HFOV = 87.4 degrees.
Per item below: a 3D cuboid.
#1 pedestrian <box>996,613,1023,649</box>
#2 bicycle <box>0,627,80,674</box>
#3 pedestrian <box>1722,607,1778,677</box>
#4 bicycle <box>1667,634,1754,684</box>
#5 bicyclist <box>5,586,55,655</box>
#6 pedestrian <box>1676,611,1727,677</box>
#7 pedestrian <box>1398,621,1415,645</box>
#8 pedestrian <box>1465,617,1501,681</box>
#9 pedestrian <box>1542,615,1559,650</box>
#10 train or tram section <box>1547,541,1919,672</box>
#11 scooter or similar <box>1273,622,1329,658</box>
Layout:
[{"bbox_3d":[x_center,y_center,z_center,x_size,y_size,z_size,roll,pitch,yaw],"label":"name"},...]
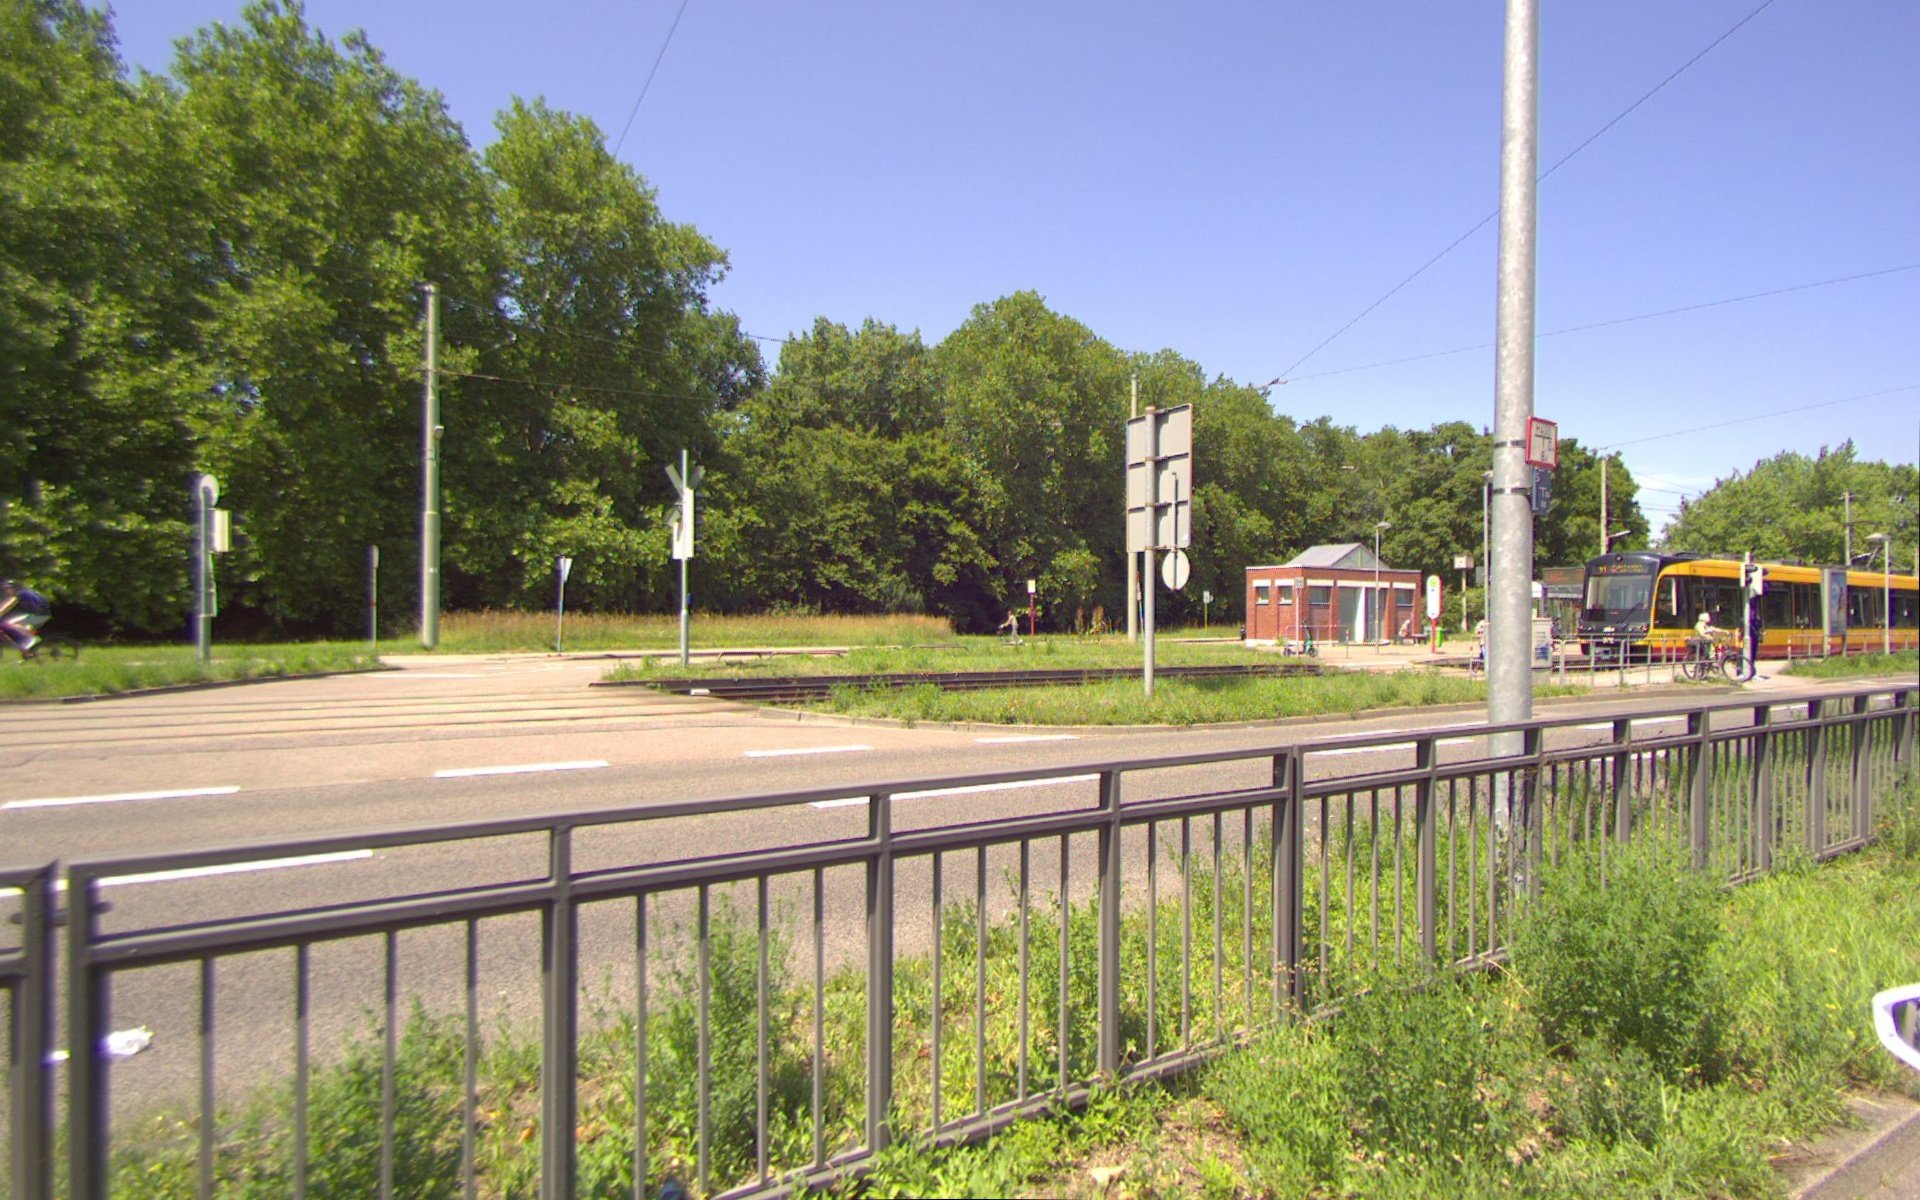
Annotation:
[{"bbox_3d":[2.477,1.527,49.870,1.245,1.724,0.517,1,0,13],"label":"pedestrian"},{"bbox_3d":[-18.696,1.004,20.137,1.552,0.913,0.504,1,0,-38],"label":"bicycle"},{"bbox_3d":[20.876,1.092,26.569,0.691,1.821,0.961,1,0,-3],"label":"pedestrian"},{"bbox_3d":[19.066,1.482,25.569,0.239,1.172,1.856,1,0,-26],"label":"bicycle"},{"bbox_3d":[-18.624,0.400,20.124,0.674,1.353,0.504,1,0,-38],"label":"bicyclist"},{"bbox_3d":[19.071,1.114,25.831,0.696,1.650,0.816,1,0,-26],"label":"pedestrian"},{"bbox_3d":[19.802,1.461,44.577,0.516,1.032,0.479,1,0,-30],"label":"pedestrian"},{"bbox_3d":[13.086,1.207,25.144,0.527,1.561,0.870,0,0,8],"label":"pedestrian"},{"bbox_3d":[24.995,1.378,42.509,0.520,1.455,0.458,1,0,-34],"label":"pedestrian"},{"bbox_3d":[34.430,0.477,39.787,37.107,3.717,2.772,1,0,-33],"label":"train or tram section"},{"bbox_3d":[11.000,1.285,32.477,1.639,1.142,0.613,1,0,12],"label":"scooter or similar"}]
